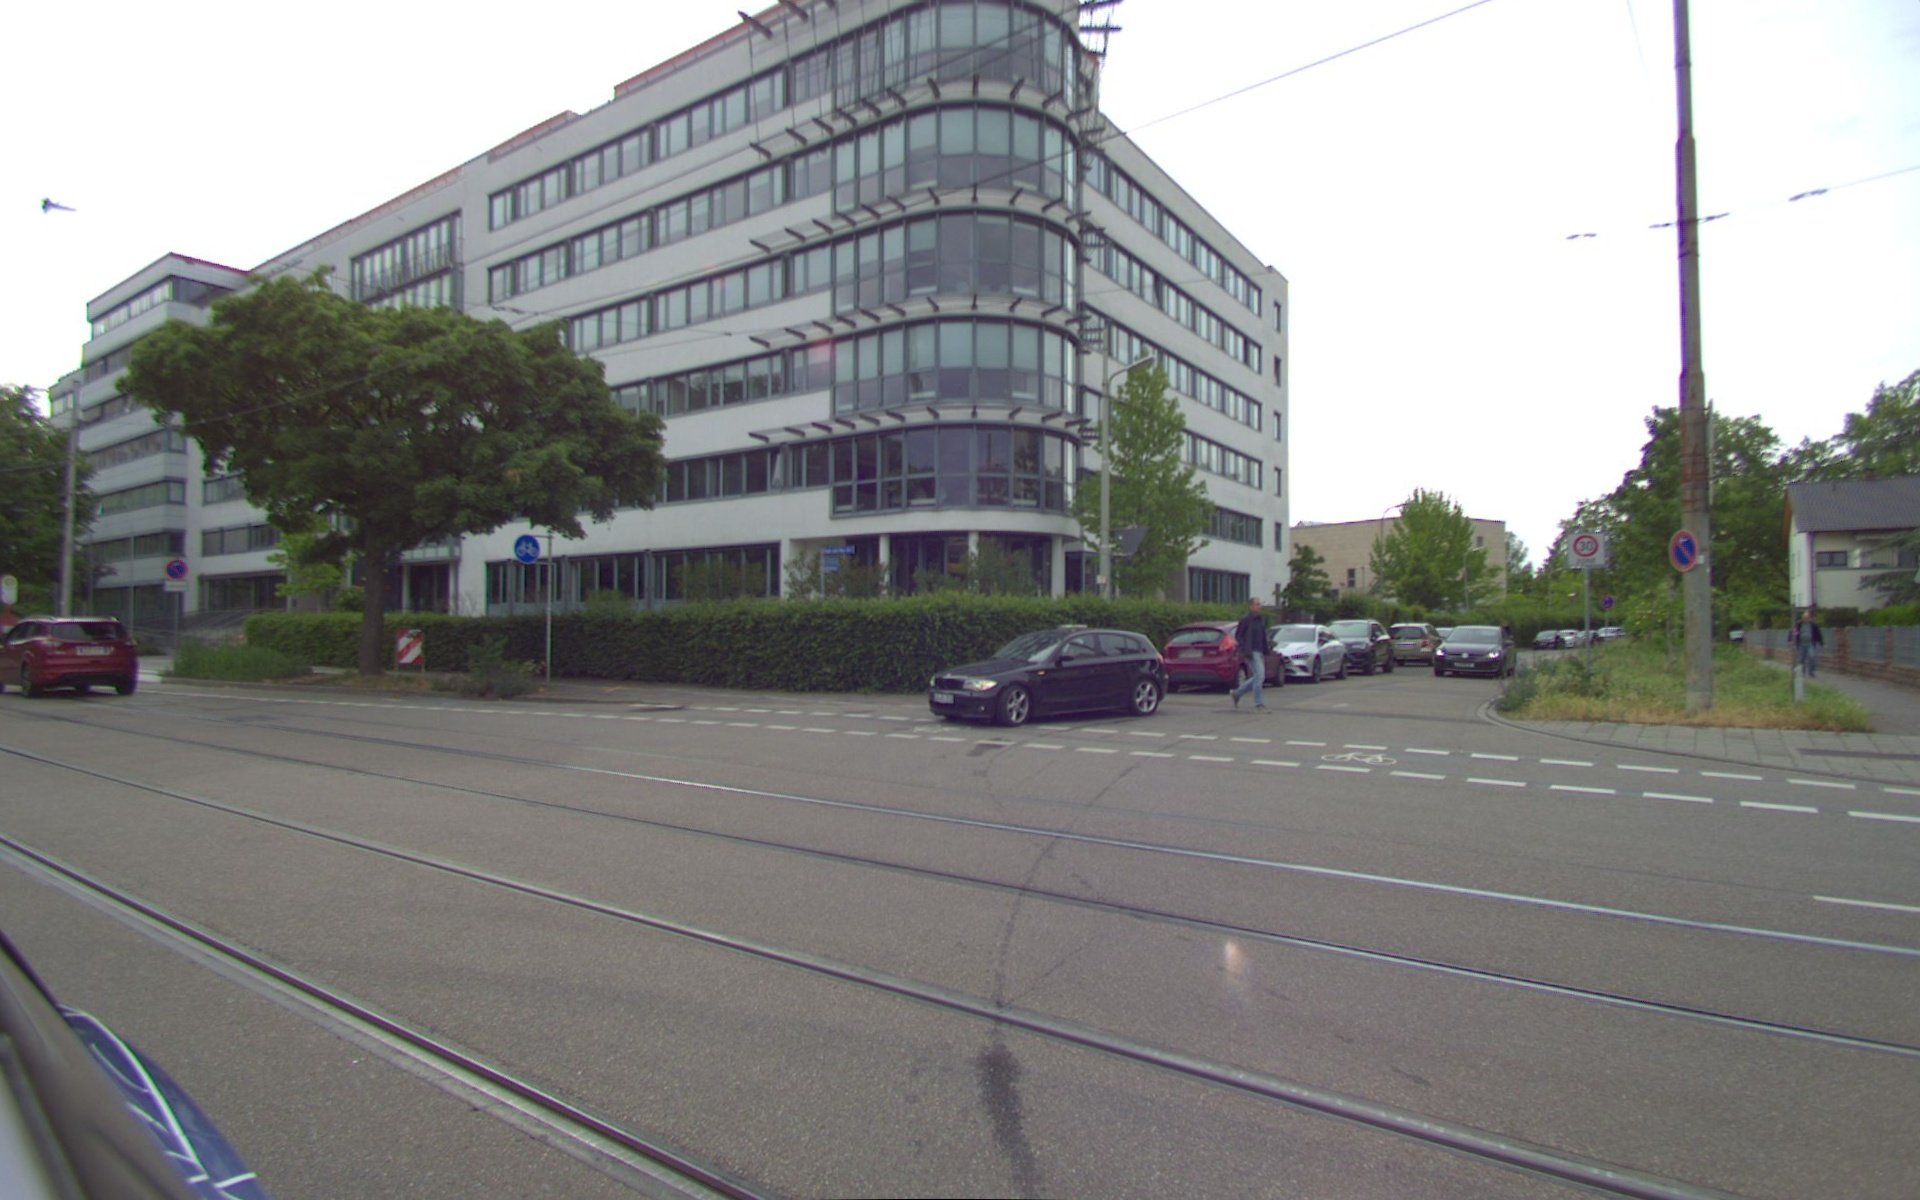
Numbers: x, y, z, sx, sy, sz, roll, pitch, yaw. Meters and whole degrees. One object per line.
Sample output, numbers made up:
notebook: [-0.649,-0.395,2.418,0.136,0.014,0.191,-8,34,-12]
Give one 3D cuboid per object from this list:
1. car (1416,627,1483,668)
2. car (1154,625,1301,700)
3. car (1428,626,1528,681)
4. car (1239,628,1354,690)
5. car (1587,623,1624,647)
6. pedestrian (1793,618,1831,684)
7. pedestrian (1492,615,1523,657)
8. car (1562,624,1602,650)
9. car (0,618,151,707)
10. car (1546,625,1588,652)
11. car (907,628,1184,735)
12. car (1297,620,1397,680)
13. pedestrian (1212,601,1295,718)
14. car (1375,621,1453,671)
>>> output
car: [20.923,1.972,43.172,1.877,1.573,3.951,-1,-1,36]
car: [5.777,1.251,21.582,1.722,1.432,3.970,-1,-2,36]
car: [14.830,1.475,28.886,1.814,1.462,3.935,-1,-2,38]
car: [8.458,1.405,25.224,1.774,1.359,4.003,-1,-1,33]
car: [56.740,3.068,88.929,2.001,2.029,3.941,-1,-1,45]
pedestrian: [23.507,1.385,27.930,0.761,1.787,0.627,-1,-1,42]
pedestrian: [26.691,1.752,49.379,1.181,2.029,1.207,-1,-2,23]
car: [52.166,3.065,84.883,2.001,2.029,3.941,-1,-1,45]
car: [-19.430,1.271,21.790,4.394,1.737,1.828,-1,-2,33]
car: [48.951,3.051,81.608,2.001,2.029,3.941,-1,-1,45]
car: [1.380,1.167,15.683,4.044,1.379,1.793,0,-1,-34]
car: [11.522,1.420,29.997,1.994,1.663,3.955,-1,-2,33]
pedestrian: [4.788,0.943,16.504,1.058,1.839,0.796,-1,-1,40]
car: [16.938,1.670,37.685,1.885,1.694,3.790,-1,-1,36]
